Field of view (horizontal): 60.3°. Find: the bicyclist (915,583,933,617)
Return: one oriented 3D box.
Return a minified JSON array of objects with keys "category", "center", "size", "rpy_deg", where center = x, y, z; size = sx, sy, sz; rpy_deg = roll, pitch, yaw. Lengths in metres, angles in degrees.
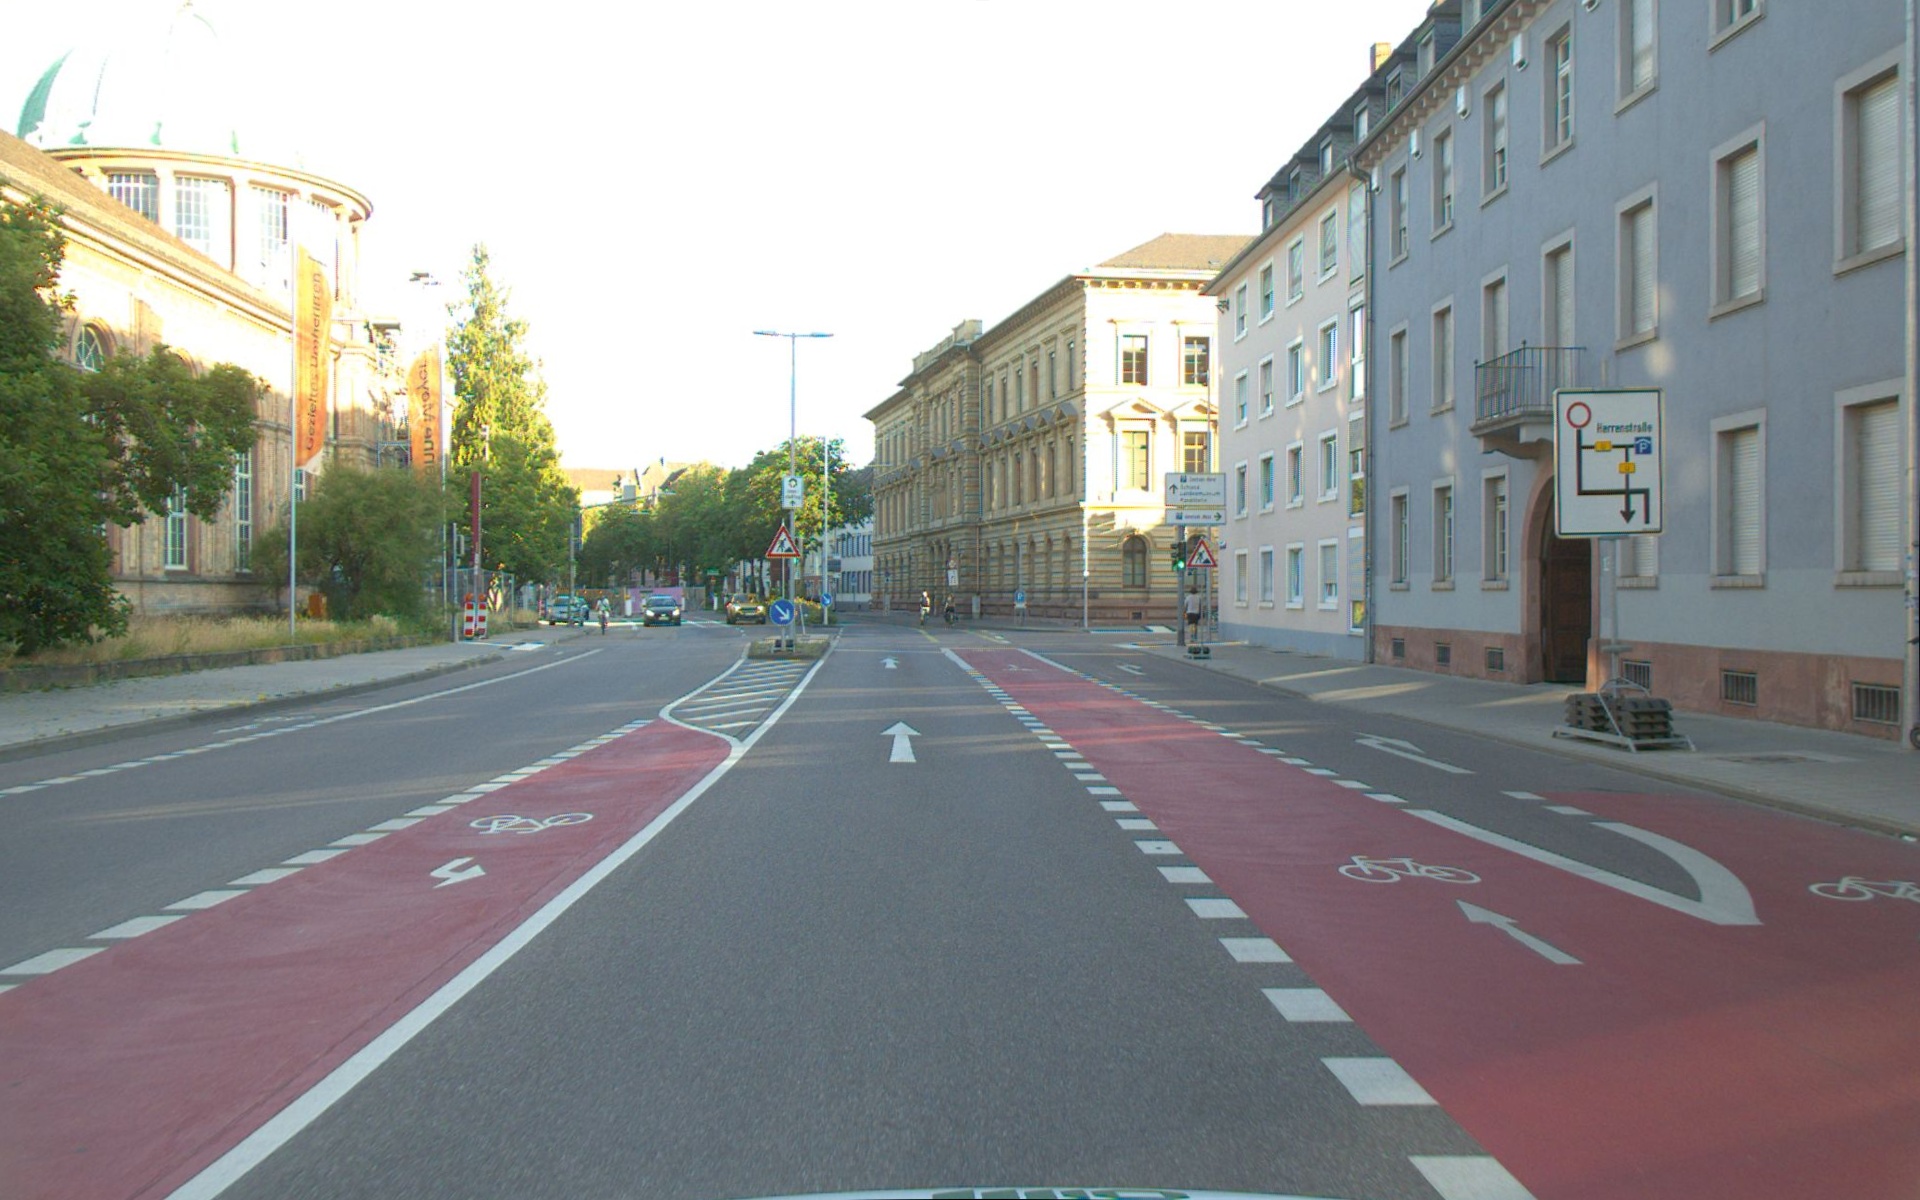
[{"category":"bicyclist","center":[-1.746,-0.005,80.365],"size":[0.658,1.593,0.695],"rpy_deg":[2,-1,-19]}]

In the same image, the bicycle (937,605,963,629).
[{"category":"bicycle","center":[-0.496,0.822,80.659],"size":[0.642,1.089,2.248],"rpy_deg":[2,-1,-16]}]

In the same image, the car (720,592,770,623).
[{"category":"car","center":[-11.021,0.360,85.045],"size":[1.807,1.574,4.120],"rpy_deg":[-1,0,3]}]

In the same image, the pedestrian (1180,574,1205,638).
[{"category":"pedestrian","center":[7.548,0.190,53.667],"size":[0.768,2.049,0.995],"rpy_deg":[0,0,12]}]

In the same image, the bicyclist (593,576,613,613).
[{"category":"bicyclist","center":[-15.011,-0.232,69.637],"size":[0.733,1.486,0.935],"rpy_deg":[-2,0,-9]}]

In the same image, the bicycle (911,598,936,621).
[{"category":"bicycle","center":[-1.765,0.480,80.376],"size":[0.659,1.089,1.891],"rpy_deg":[2,-1,-19]}]

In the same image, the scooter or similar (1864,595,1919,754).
[{"category":"scooter or similar","center":[9.446,0.702,15.894],"size":[0.710,1.484,1.673],"rpy_deg":[-2,0,7]}]

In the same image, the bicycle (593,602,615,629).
[{"category":"bicycle","center":[-14.995,0.643,69.668],"size":[0.739,1.109,1.928],"rpy_deg":[-2,0,-9]}]

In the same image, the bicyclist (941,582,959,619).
[{"category":"bicyclist","center":[-0.493,0.009,80.766],"size":[0.639,1.791,0.860],"rpy_deg":[2,0,-16]}]

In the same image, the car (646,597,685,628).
[{"category":"car","center":[-14.979,0.626,84.244],"size":[1.789,1.534,4.418],"rpy_deg":[0,0,-8]}]

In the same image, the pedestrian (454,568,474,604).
[{"category":"pedestrian","center":[-22.217,-0.612,74.096],"size":[0.722,1.606,0.761],"rpy_deg":[0,0,-9]}]

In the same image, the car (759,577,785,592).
[{"category":"car","center":[-20.317,-1.669,178.960],"size":[1.788,1.587,3.836],"rpy_deg":[0,0,-24]}]

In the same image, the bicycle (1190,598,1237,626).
[{"category":"bicycle","center":[11.650,0.545,75.999],"size":[2.010,1.228,0.861],"rpy_deg":[0,2,-5]}]
